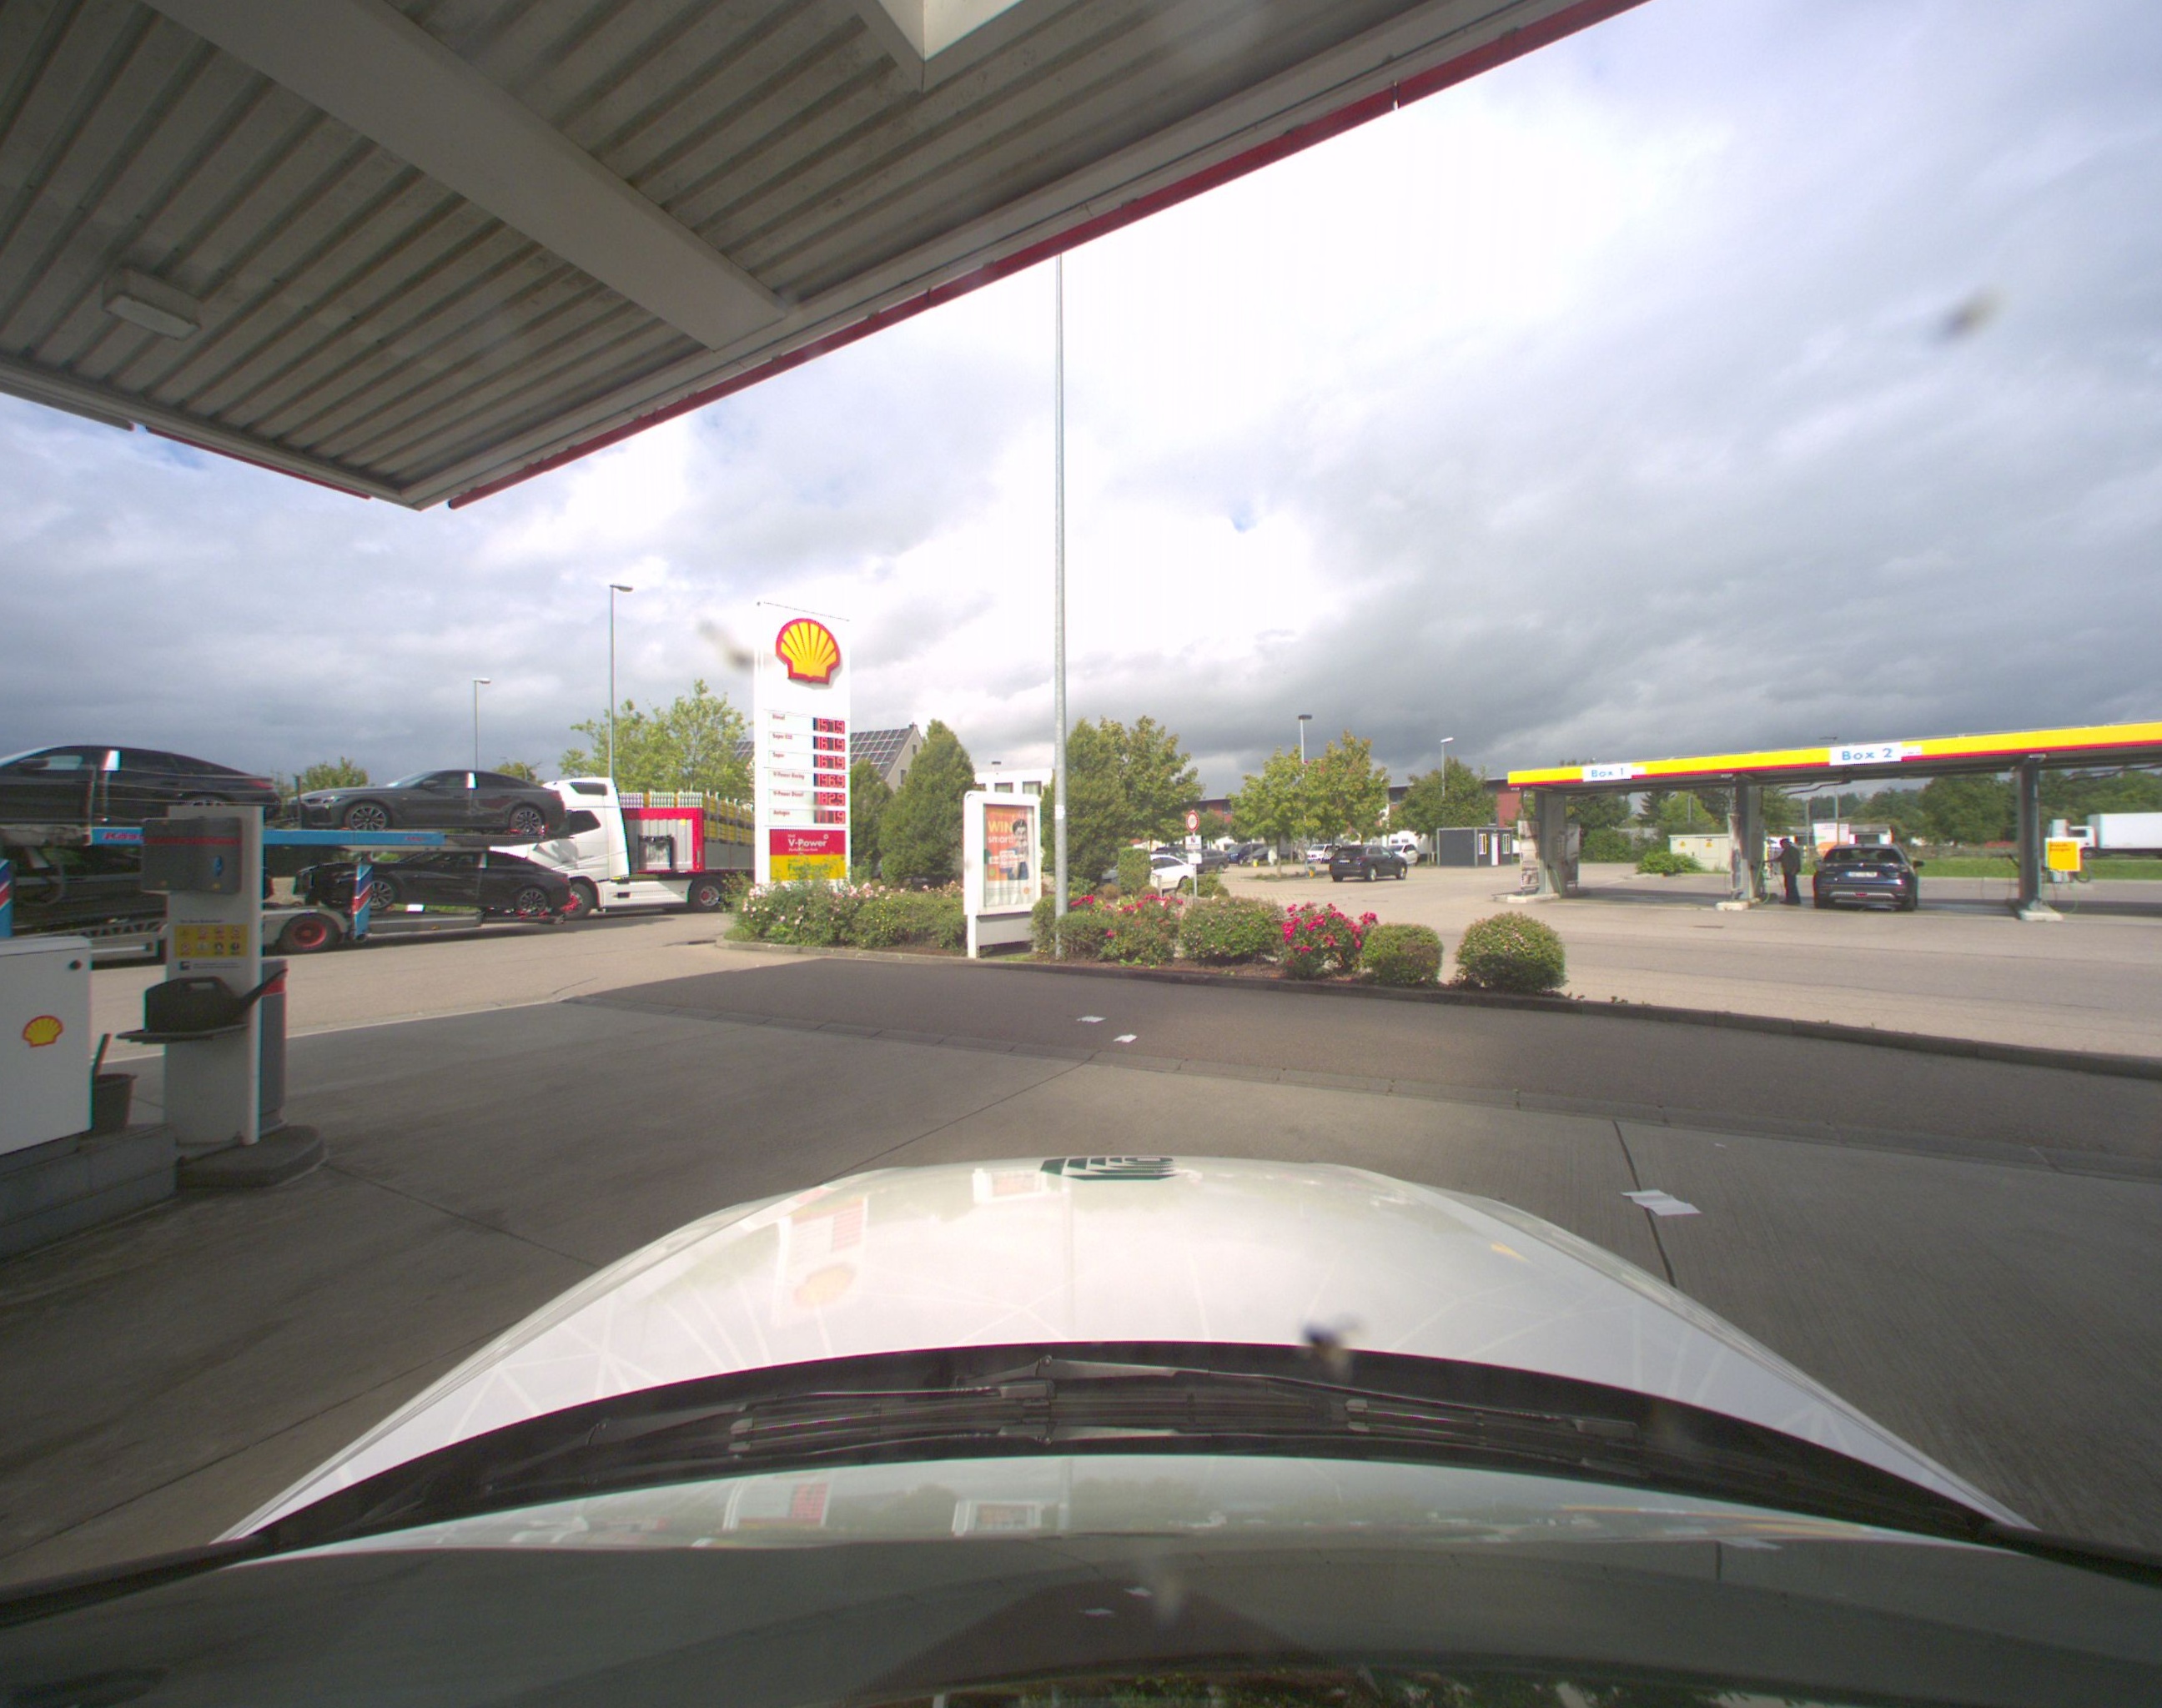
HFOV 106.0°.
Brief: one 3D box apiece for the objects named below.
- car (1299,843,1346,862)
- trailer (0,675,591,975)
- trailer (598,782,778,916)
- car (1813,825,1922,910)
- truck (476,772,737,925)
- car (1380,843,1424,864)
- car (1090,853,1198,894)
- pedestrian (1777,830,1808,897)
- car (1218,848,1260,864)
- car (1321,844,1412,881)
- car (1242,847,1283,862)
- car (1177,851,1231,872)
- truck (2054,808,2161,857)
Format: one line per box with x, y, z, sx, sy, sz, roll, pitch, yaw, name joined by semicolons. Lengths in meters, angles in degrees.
23.853;-0.122;80.261;4.903;1.833;2.159;0;-1;-41;car
-16.447;-0.411;13.671;2.711;4.423;14.450;-1;-1;31;trailer
-13.485;-0.082;29.445;2.732;3.776;12.663;0;-1;-11;trailer
19.425;0.315;20.067;3.828;1.897;1.703;0;-1;-43;car
-13.532;-0.130;23.644;2.706;3.846;5.956;-1;-1;38;truck
20.591;-0.047;52.207;3.120;1.307;1.352;0;-1;-42;car
2.380;0.684;30.010;4.368;1.404;1.354;0;-1;-42;car
18.580;0.253;21.276;0.551;1.722;0.531;-1;-1;45;pedestrian
12.931;0.183;66.651;3.407;1.320;1.726;0;-1;-42;car
12.861;0.375;36.571;4.527;1.548;1.864;0;-1;-41;car
14.474;0.035;64.867;3.437;1.179;1.468;0;-1;-42;car
7.523;0.449;49.696;3.245;1.228;1.488;0;-1;-42;car
78.213;-1.561;60.007;7.989;3.534;2.714;-1;-1;41;truck
